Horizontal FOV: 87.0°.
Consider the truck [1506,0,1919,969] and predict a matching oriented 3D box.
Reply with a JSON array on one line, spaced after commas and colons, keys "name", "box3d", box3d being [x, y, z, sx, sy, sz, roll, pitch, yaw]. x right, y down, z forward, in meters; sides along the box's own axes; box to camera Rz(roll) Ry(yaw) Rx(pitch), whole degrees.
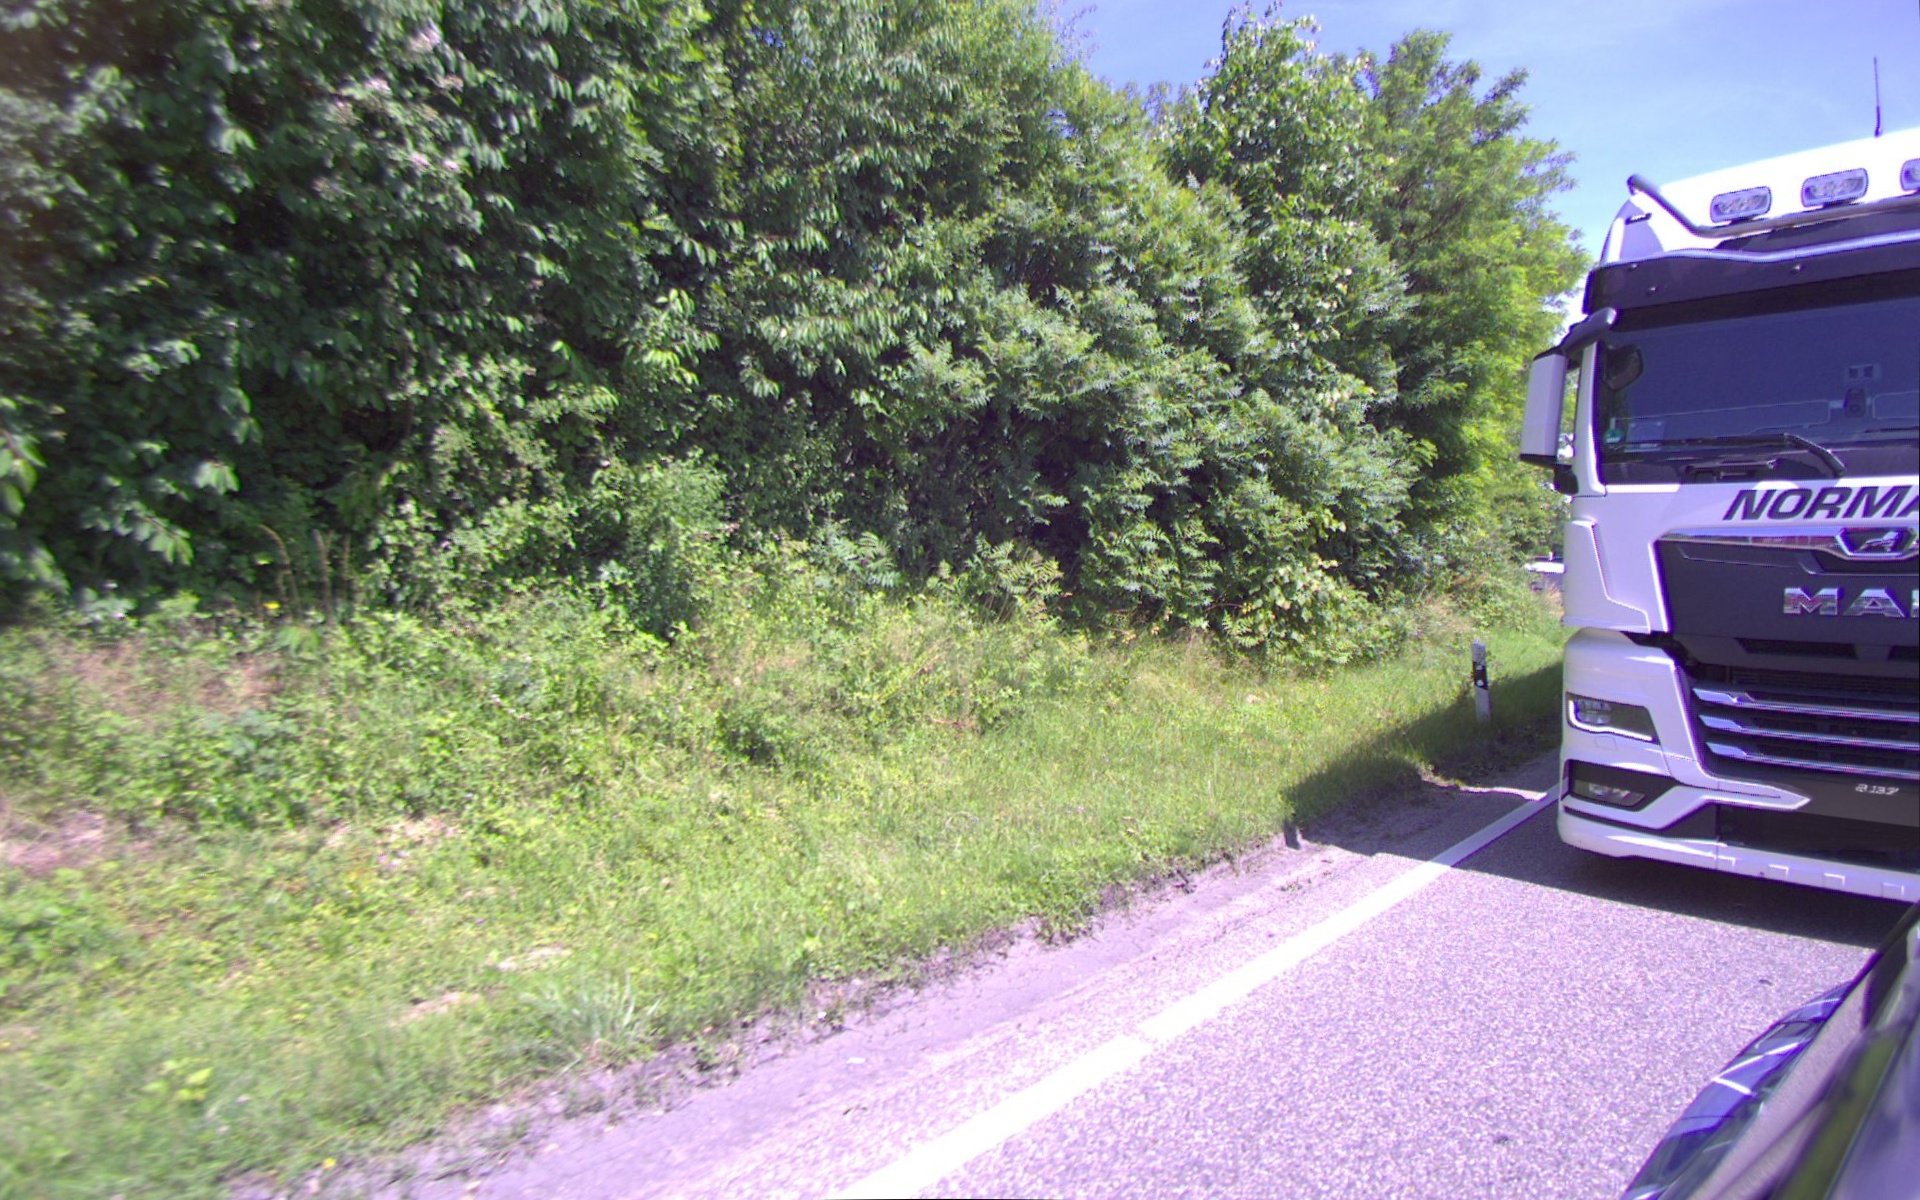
[{"name": "truck", "box3d": [9.135, -0.759, 10.985, 2.966, 4.144, 17.398, 1, 2, 37]}]
